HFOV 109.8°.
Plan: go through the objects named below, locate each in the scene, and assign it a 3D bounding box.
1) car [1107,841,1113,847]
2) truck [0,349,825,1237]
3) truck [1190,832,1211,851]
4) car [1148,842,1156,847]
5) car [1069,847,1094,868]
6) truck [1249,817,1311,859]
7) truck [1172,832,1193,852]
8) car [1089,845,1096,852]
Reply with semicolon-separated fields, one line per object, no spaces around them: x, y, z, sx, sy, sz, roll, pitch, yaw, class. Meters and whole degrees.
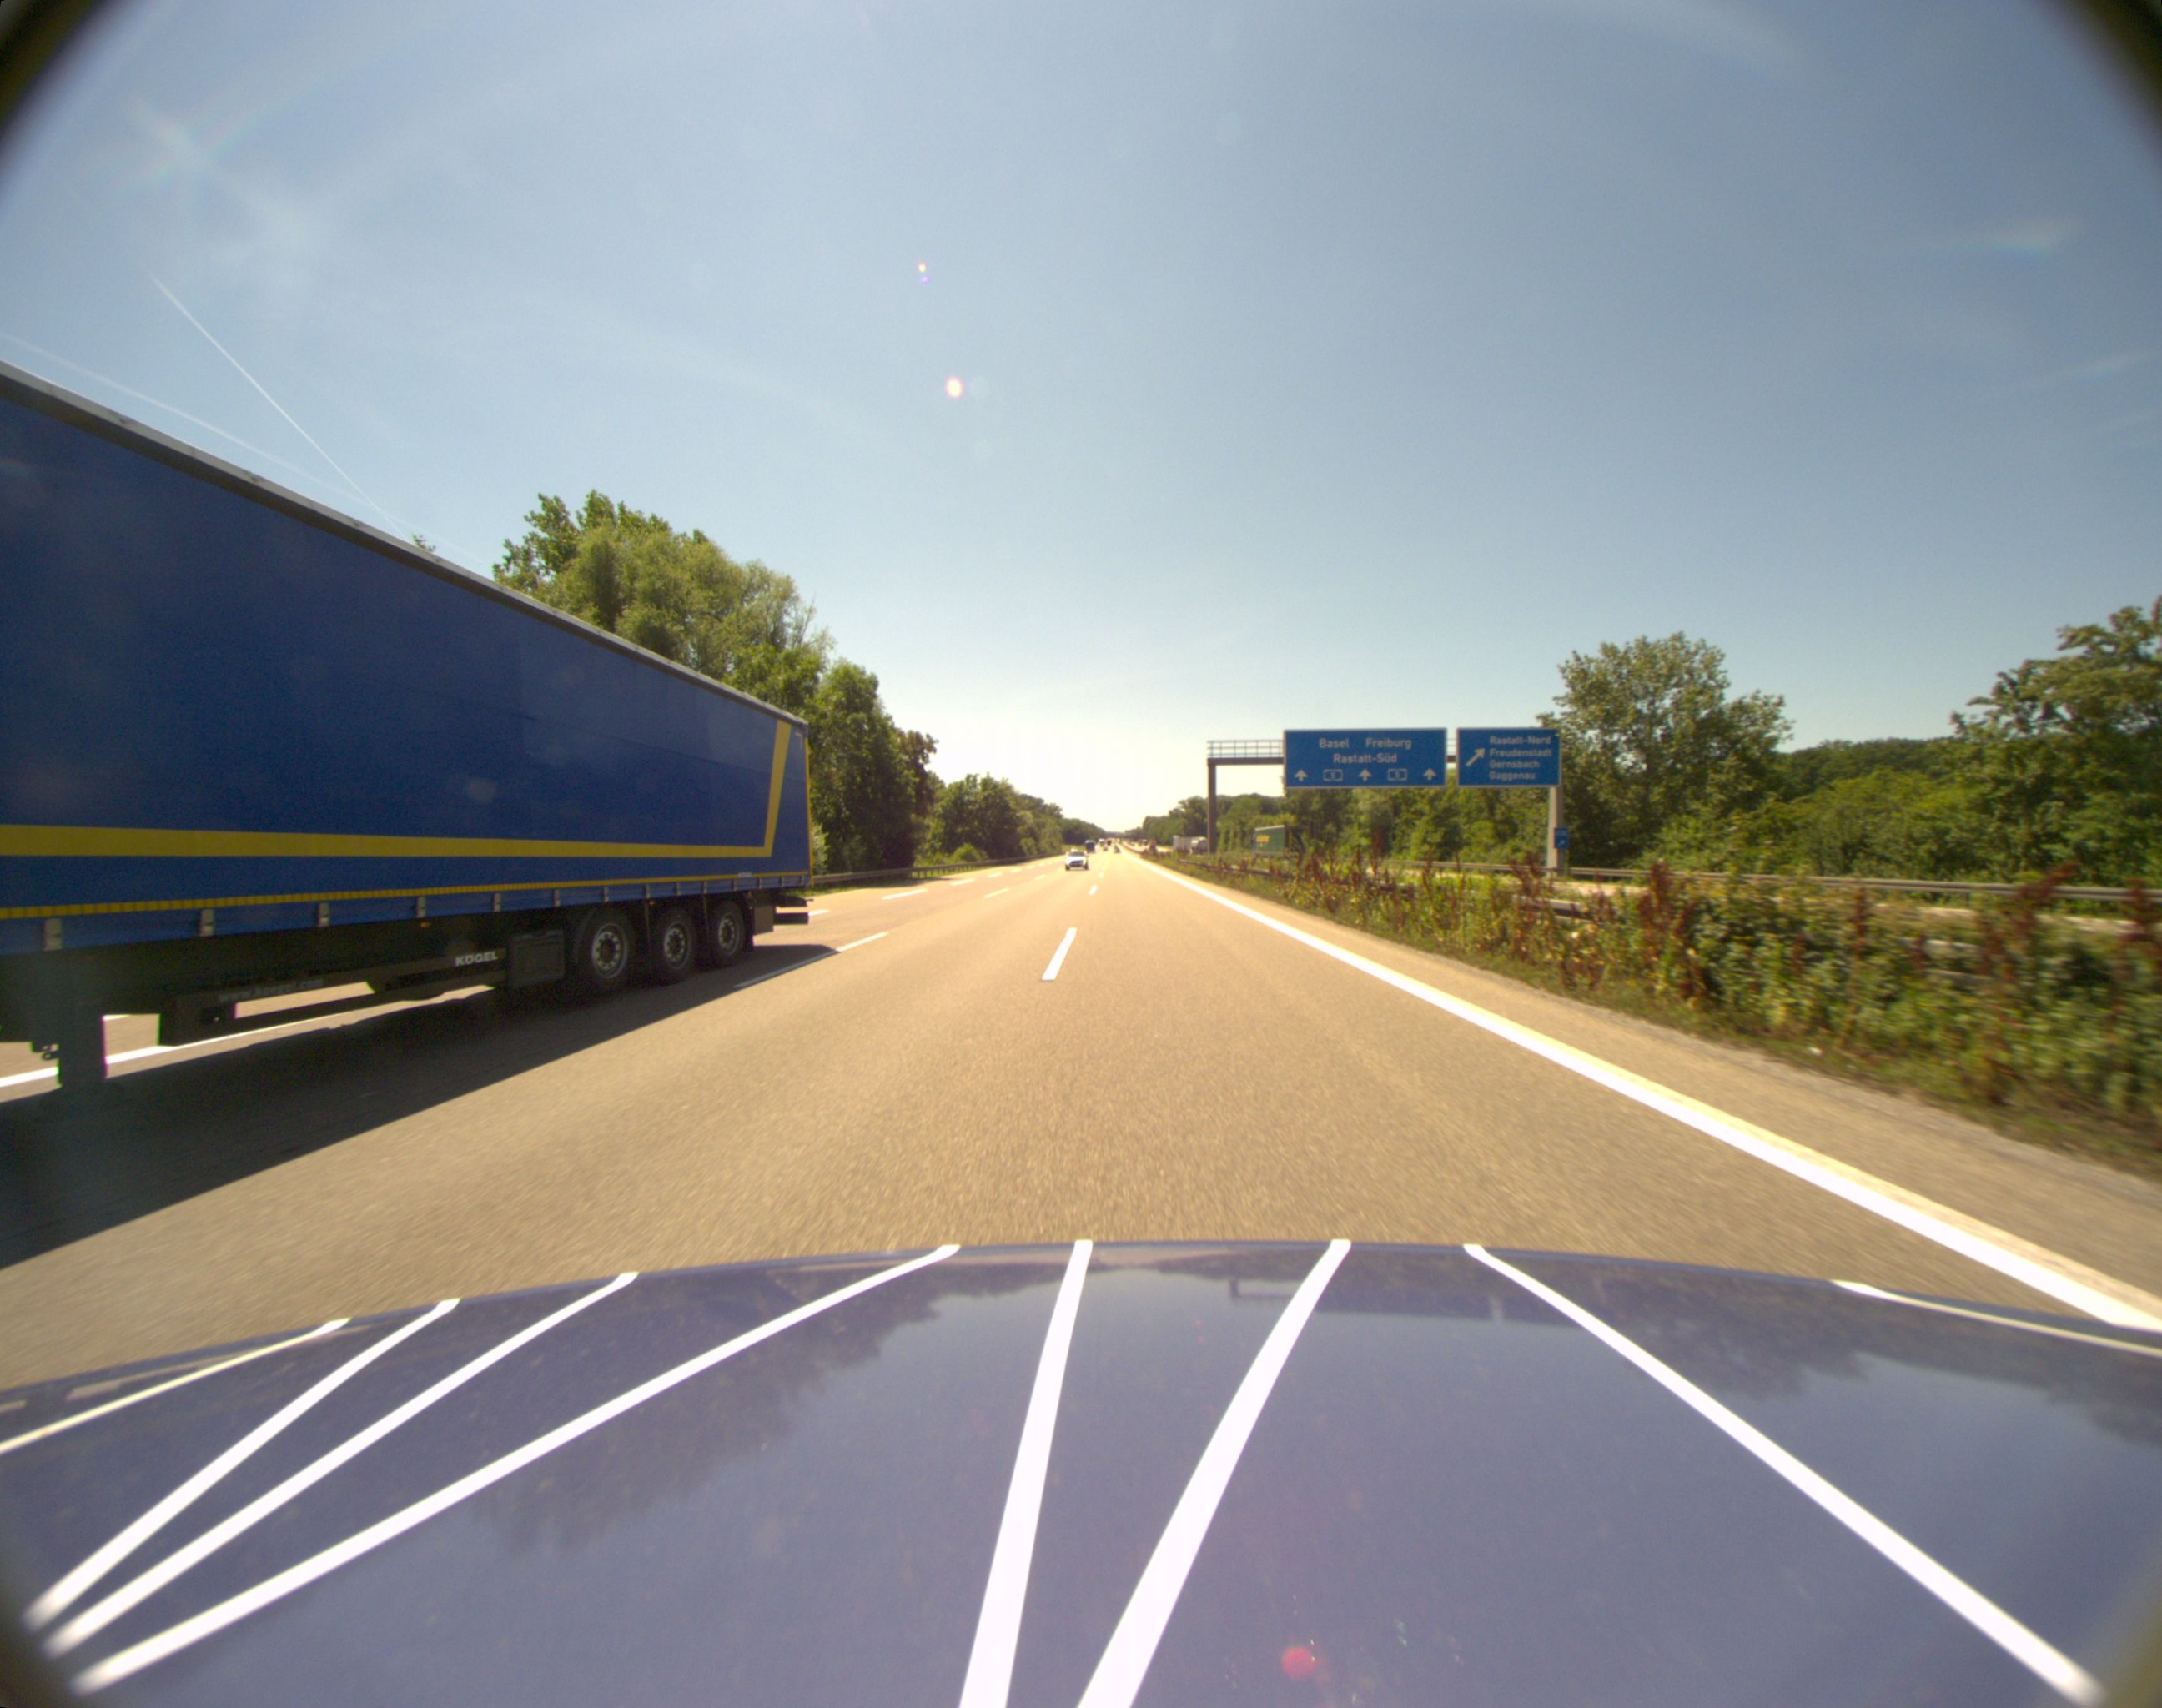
9.378;-3.287;248.567;1.840;2.002;4.000;-1;1;3;car
-6.505;-0.328;5.772;2.852;4.233;16.789;-1;1;2;truck
26.623;-2.773;169.985;2.962;3.995;15.820;0;1;2;truck
20.030;-2.664;213.325;1.998;1.580;4.818;0;1;3;car
0.069;0.280;62.317;1.845;1.565;4.000;-2;1;3;car
22.428;-1.774;86.877;2.962;4.317;18.241;0;1;2;truck
22.213;-2.557;167.771;2.962;4.221;17.181;0;1;2;truck
3.331;-1.641;214.126;1.998;2.002;4.000;0;1;1;car
